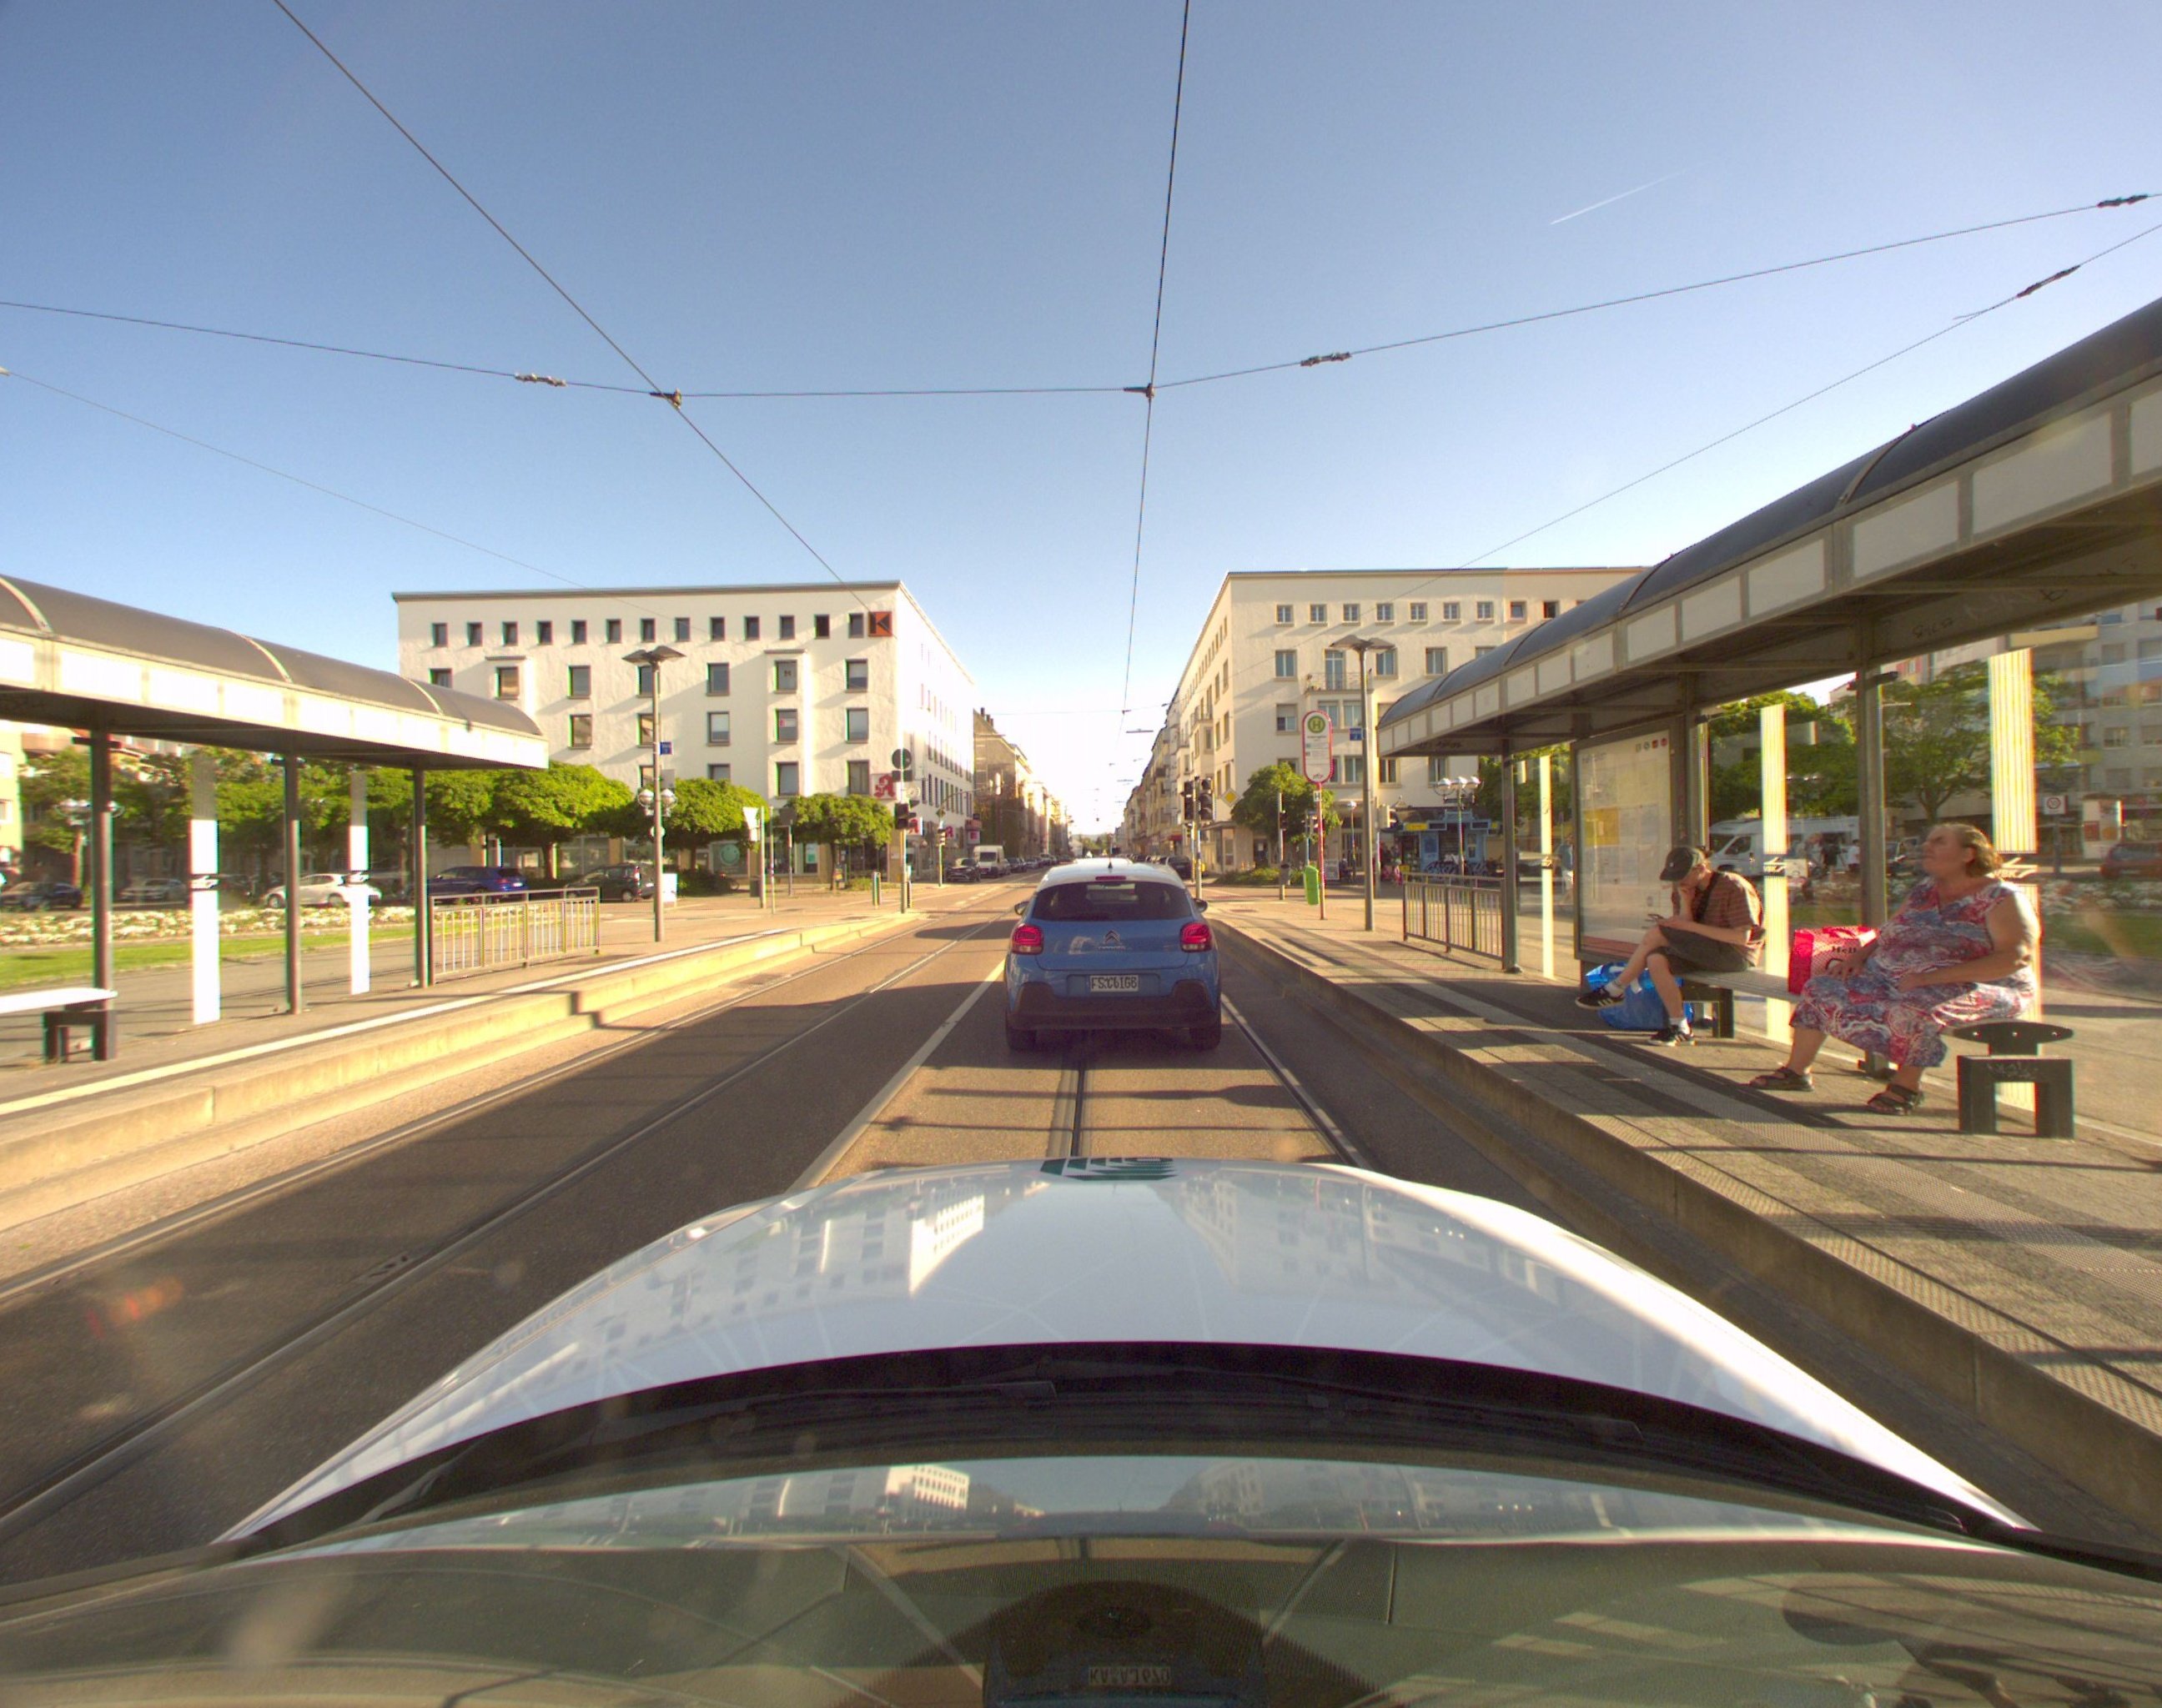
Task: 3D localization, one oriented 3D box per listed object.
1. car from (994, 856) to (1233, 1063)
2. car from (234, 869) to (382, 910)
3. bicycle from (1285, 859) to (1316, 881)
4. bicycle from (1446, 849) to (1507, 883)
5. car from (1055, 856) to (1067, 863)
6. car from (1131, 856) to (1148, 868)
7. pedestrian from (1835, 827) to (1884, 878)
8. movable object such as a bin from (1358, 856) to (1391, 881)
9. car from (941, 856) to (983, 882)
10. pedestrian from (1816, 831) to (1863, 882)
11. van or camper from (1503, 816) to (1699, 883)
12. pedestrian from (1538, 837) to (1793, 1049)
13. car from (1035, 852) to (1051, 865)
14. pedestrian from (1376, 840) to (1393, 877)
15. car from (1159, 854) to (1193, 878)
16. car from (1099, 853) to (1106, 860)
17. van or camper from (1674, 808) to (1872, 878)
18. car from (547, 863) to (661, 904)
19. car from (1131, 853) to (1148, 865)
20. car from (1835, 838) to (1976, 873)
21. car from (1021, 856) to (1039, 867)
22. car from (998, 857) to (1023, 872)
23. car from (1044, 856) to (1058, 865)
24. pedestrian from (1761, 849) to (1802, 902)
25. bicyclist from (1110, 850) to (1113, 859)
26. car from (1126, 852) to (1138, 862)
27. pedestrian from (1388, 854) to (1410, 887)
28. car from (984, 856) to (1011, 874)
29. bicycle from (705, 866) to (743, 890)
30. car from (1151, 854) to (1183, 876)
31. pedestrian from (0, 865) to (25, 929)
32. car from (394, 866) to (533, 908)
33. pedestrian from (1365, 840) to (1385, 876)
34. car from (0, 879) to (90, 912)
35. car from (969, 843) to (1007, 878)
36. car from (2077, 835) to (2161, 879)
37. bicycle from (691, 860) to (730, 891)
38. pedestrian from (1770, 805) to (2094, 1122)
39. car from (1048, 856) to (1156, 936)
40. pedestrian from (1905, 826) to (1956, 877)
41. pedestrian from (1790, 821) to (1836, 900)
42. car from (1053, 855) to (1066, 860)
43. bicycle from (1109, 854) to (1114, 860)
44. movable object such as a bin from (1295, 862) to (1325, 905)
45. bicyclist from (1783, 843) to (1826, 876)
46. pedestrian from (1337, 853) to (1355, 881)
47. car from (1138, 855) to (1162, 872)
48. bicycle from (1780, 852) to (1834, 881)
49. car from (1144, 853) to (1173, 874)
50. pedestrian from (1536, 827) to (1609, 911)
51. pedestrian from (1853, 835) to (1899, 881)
[{"bbox_3d":[0.292,0.768,7.802,1.721,1.482,3.828,0,0,2],"label":"car"},{"bbox_3d":[-33.516,1.518,35.394,4.591,1.606,1.855,-1,0,-1],"label":"car"},{"bbox_3d":[11.423,0.838,42.433,1.556,1.120,0.301,0,-1,12],"label":"bicycle"},{"bbox_3d":[17.717,0.531,36.522,2.376,1.531,0.726,1,0,0],"label":"bicycle"},{"bbox_3d":[-3.702,1.041,154.088,1.986,1.156,4.002,-1,0,2],"label":"car"},{"bbox_3d":[7.630,1.077,106.344,1.986,1.464,4.002,-1,0,2],"label":"car"},{"bbox_3d":[25.020,-0.051,26.174,0.897,1.585,0.663,-1,0,5],"label":"pedestrian"},{"bbox_3d":[14.394,0.696,39.995,1.194,1.153,1.218,-1,0,2],"label":"movable object such as a bin"},{"bbox_3d":[-7.656,0.942,52.702,1.987,1.569,4.403,2,-1,1],"label":"car"},{"bbox_3d":[25.648,0.089,27.551,0.897,1.685,0.696,-1,0,5],"label":"pedestrian"},{"bbox_3d":[22.810,-0.215,35.956,7.093,2.747,2.372,-1,1,2],"label":"van or camper"},{"bbox_3d":[3.718,0.528,5.282,0.995,1.225,0.923,2,-1,1],"label":"pedestrian"},{"bbox_3d":[-5.885,0.763,127.005,1.997,2.014,4.694,0,-1,4],"label":"car"},{"bbox_3d":[15.348,0.224,41.212,0.650,1.839,0.660,-1,0,5],"label":"pedestrian"},{"bbox_3d":[6.070,0.729,52.416,1.902,1.464,4.002,-1,0,2],"label":"car"},{"bbox_3d":[6.235,0.672,234.566,1.986,1.772,4.002,-1,0,2],"label":"car"},{"bbox_3d":[30.120,-0.459,35.653,6.375,2.839,2.381,-1,0,5],"label":"van or camper"},{"bbox_3d":[-21.246,1.293,36.376,3.973,1.706,1.826,-1,0,1],"label":"car"},{"bbox_3d":[7.257,0.588,101.719,1.986,1.464,4.507,-1,0,2],"label":"car"},{"bbox_3d":[36.664,0.074,36.332,3.959,1.511,2.007,0,-1,13],"label":"car"},{"bbox_3d":[-6.411,0.985,103.566,1.987,1.325,3.923,0,-1,1],"label":"car"},{"bbox_3d":[-6.756,1.043,78.426,1.987,1.398,4.157,0,-1,1],"label":"car"},{"bbox_3d":[-5.094,1.060,137.110,1.946,1.552,3.942,0,-1,4],"label":"car"},{"bbox_3d":[15.618,0.474,18.158,0.466,1.169,0.559,0,-1,10],"label":"pedestrian"},{"bbox_3d":[6.898,0.169,183.820,0.807,2.014,0.922,0,-1,0],"label":"bicyclist"},{"bbox_3d":[8.325,0.497,133.140,1.986,1.464,4.002,-1,0,2],"label":"car"},{"bbox_3d":[14.111,0.720,36.156,0.727,1.409,0.755,-1,3,2],"label":"pedestrian"},{"bbox_3d":[-7.110,0.955,69.742,1.881,1.496,3.562,0,-1,1],"label":"car"},{"bbox_3d":[-19.109,1.270,43.650,0.615,1.190,2.624,-1,0,5],"label":"bicycle"},{"bbox_3d":[6.027,0.779,57.494,1.986,1.464,4.002,-1,0,2],"label":"car"},{"bbox_3d":[-31.344,1.247,23.413,0.938,1.817,0.872,-1,0,13],"label":"pedestrian"},{"bbox_3d":[-27.274,1.436,36.088,4.591,1.662,1.999,-1,0,-1],"label":"car"},{"bbox_3d":[15.213,0.223,42.141,0.781,1.839,0.679,-1,0,5],"label":"pedestrian"},{"bbox_3d":[-52.582,2.031,40.950,1.925,1.494,4.314,0,-1,-27],"label":"car"},{"bbox_3d":[-7.124,0.497,63.060,2.078,2.542,6.206,0,0,1],"label":"car"},{"bbox_3d":[38.429,0.070,28.973,3.983,1.486,1.995,-1,0,-7],"label":"car"},{"bbox_3d":[-19.833,1.131,43.692,0.614,1.607,2.625,-1,0,6],"label":"bicycle"},{"bbox_3d":[3.924,0.470,3.813,0.855,1.334,0.623,2,-1,1],"label":"pedestrian"},{"bbox_3d":[0.463,0.773,17.425,1.977,1.464,4.817,0,0,2],"label":"car"},{"bbox_3d":[27.281,-0.083,26.172,0.897,1.585,0.663,-1,0,5],"label":"pedestrian"},{"bbox_3d":[16.358,0.143,18.202,0.554,1.745,0.528,0,-1,12],"label":"pedestrian"},{"bbox_3d":[-4.860,0.850,185.153,1.981,1.156,4.528,-1,0,11],"label":"car"},{"bbox_3d":[6.878,0.746,183.759,0.916,1.389,3.134,-1,0,2],"label":"bicycle"},{"bbox_3d":[4.351,0.554,15.509,0.447,0.786,0.489,-1,0,4],"label":"movable object such as a bin"},{"bbox_3d":[27.342,0.212,30.779,0.935,1.225,0.946,1,0,-26],"label":"bicyclist"},{"bbox_3d":[12.636,0.601,38.849,0.733,1.316,0.631,-1,0,25],"label":"pedestrian"},{"bbox_3d":[6.160,0.828,72.894,1.986,1.464,4.002,-1,0,2],"label":"car"},{"bbox_3d":[27.491,0.453,30.839,2.327,1.061,0.715,0,0,-26],"label":"bicycle"},{"bbox_3d":[5.962,0.732,62.899,1.986,1.501,4.002,-1,0,2],"label":"car"},{"bbox_3d":[11.477,0.349,19.068,0.978,1.878,1.128,-1,-1,-1],"label":"pedestrian"},{"bbox_3d":[27.640,0.136,28.317,0.897,1.585,0.663,-1,0,5],"label":"pedestrian"}]
